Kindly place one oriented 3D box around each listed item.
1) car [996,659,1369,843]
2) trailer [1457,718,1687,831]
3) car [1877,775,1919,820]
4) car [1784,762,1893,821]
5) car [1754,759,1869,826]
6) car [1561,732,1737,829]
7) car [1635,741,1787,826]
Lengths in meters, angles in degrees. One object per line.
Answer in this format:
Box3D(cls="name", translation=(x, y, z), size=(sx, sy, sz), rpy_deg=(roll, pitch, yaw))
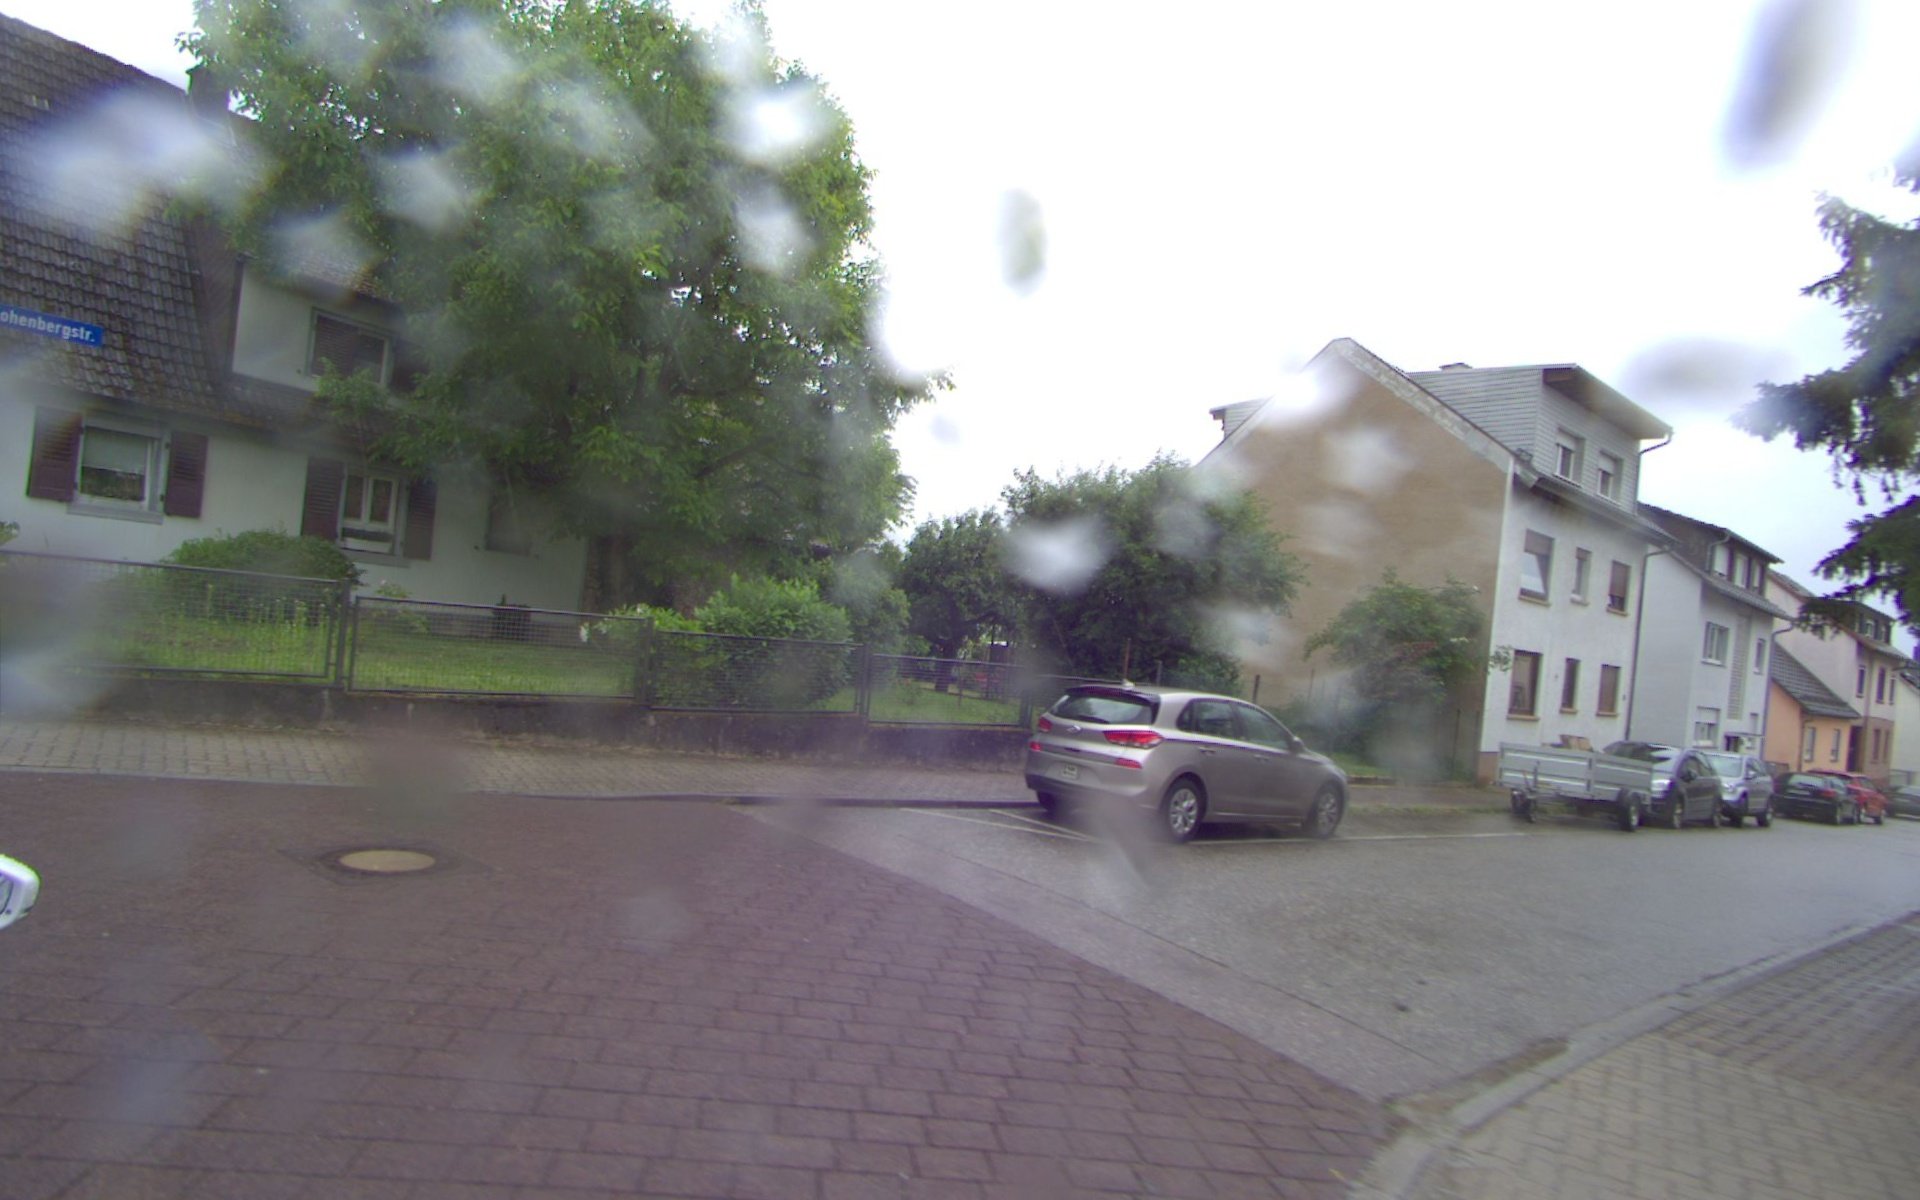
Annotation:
Box3D(cls="car", translation=(2.514, 1.625, 10.862), size=(3.971, 1.488, 1.774), rpy_deg=(9, -3, -40))
Box3D(cls="trailer", translation=(11.132, 3.175, 18.188), size=(4.513, 1.583, 1.985), rpy_deg=(10, -5, -37))
Box3D(cls="car", translation=(40.212, 8.344, 42.154), size=(4.066, 1.587, 1.981), rpy_deg=(9, -4, -38))
Box3D(cls="car", translation=(29.493, 6.432, 33.732), size=(4.066, 1.587, 1.981), rpy_deg=(9, -4, -38))
Box3D(cls="car", translation=(25.938, 5.850, 30.617), size=(4.069, 1.587, 1.979), rpy_deg=(10, -5, -40))
Box3D(cls="car", translation=(14.453, 3.769, 21.024), size=(4.069, 1.587, 1.979), rpy_deg=(10, -5, -40))
Box3D(cls="car", translation=(18.004, 4.385, 24.058), size=(4.069, 1.587, 1.979), rpy_deg=(10, -5, -40))
